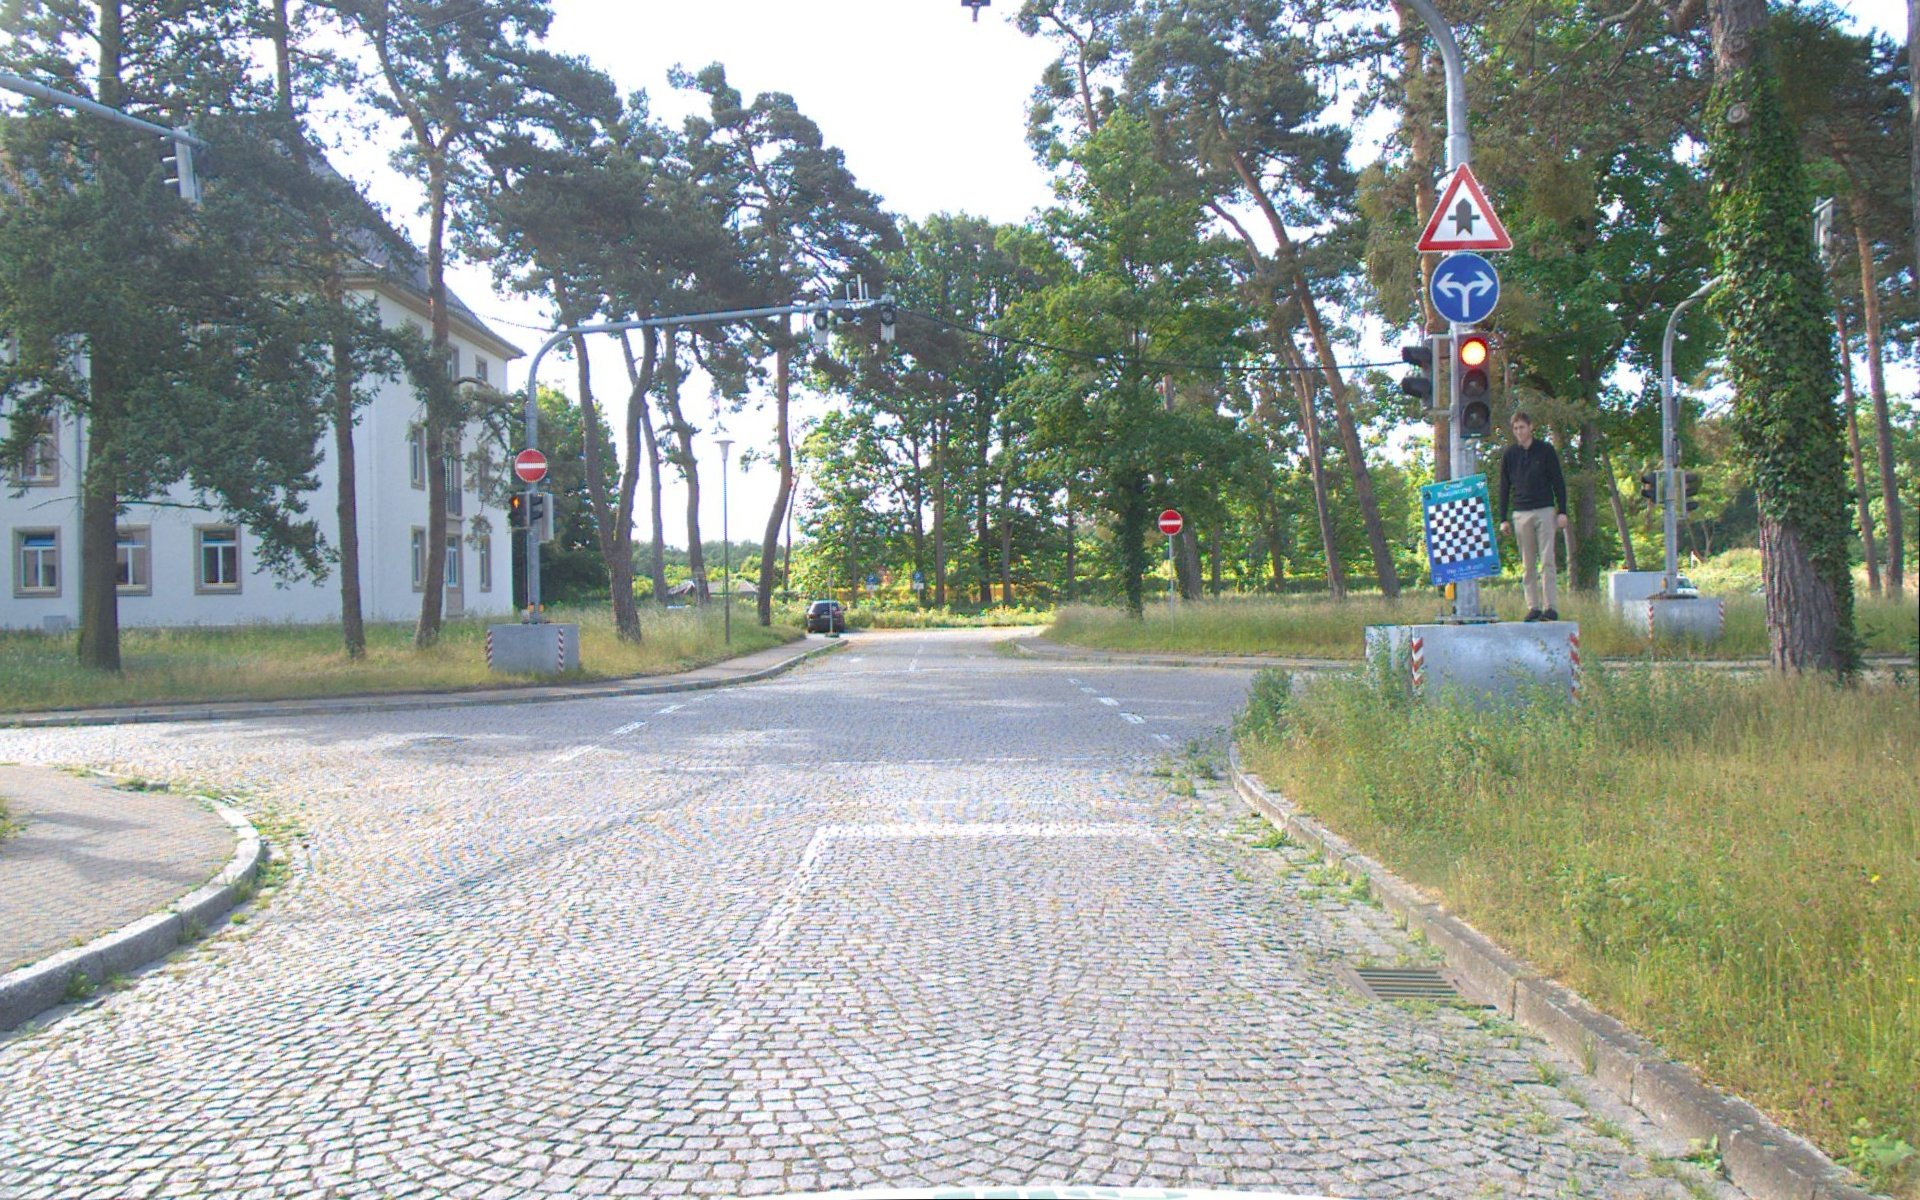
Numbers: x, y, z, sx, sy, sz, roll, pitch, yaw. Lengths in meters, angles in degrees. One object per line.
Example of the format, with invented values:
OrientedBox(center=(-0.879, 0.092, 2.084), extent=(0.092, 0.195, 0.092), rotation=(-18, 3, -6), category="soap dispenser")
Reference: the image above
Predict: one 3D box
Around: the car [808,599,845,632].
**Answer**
OrientedBox(center=(-6.608, 0.753, 81.874), extent=(1.675, 1.522, 3.916), rotation=(-2, 0, -3), category="car")

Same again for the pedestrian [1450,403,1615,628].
OrientedBox(center=(4.986, -0.703, 14.376), extent=(1.146, 1.827, 1.061), rotation=(-2, 0, 28), category="pedestrian")

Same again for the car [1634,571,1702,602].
OrientedBox(center=(37.831, -0.713, 88.502), extent=(1.790, 1.609, 4.162), rotation=(-1, 0, -1), category="car")
